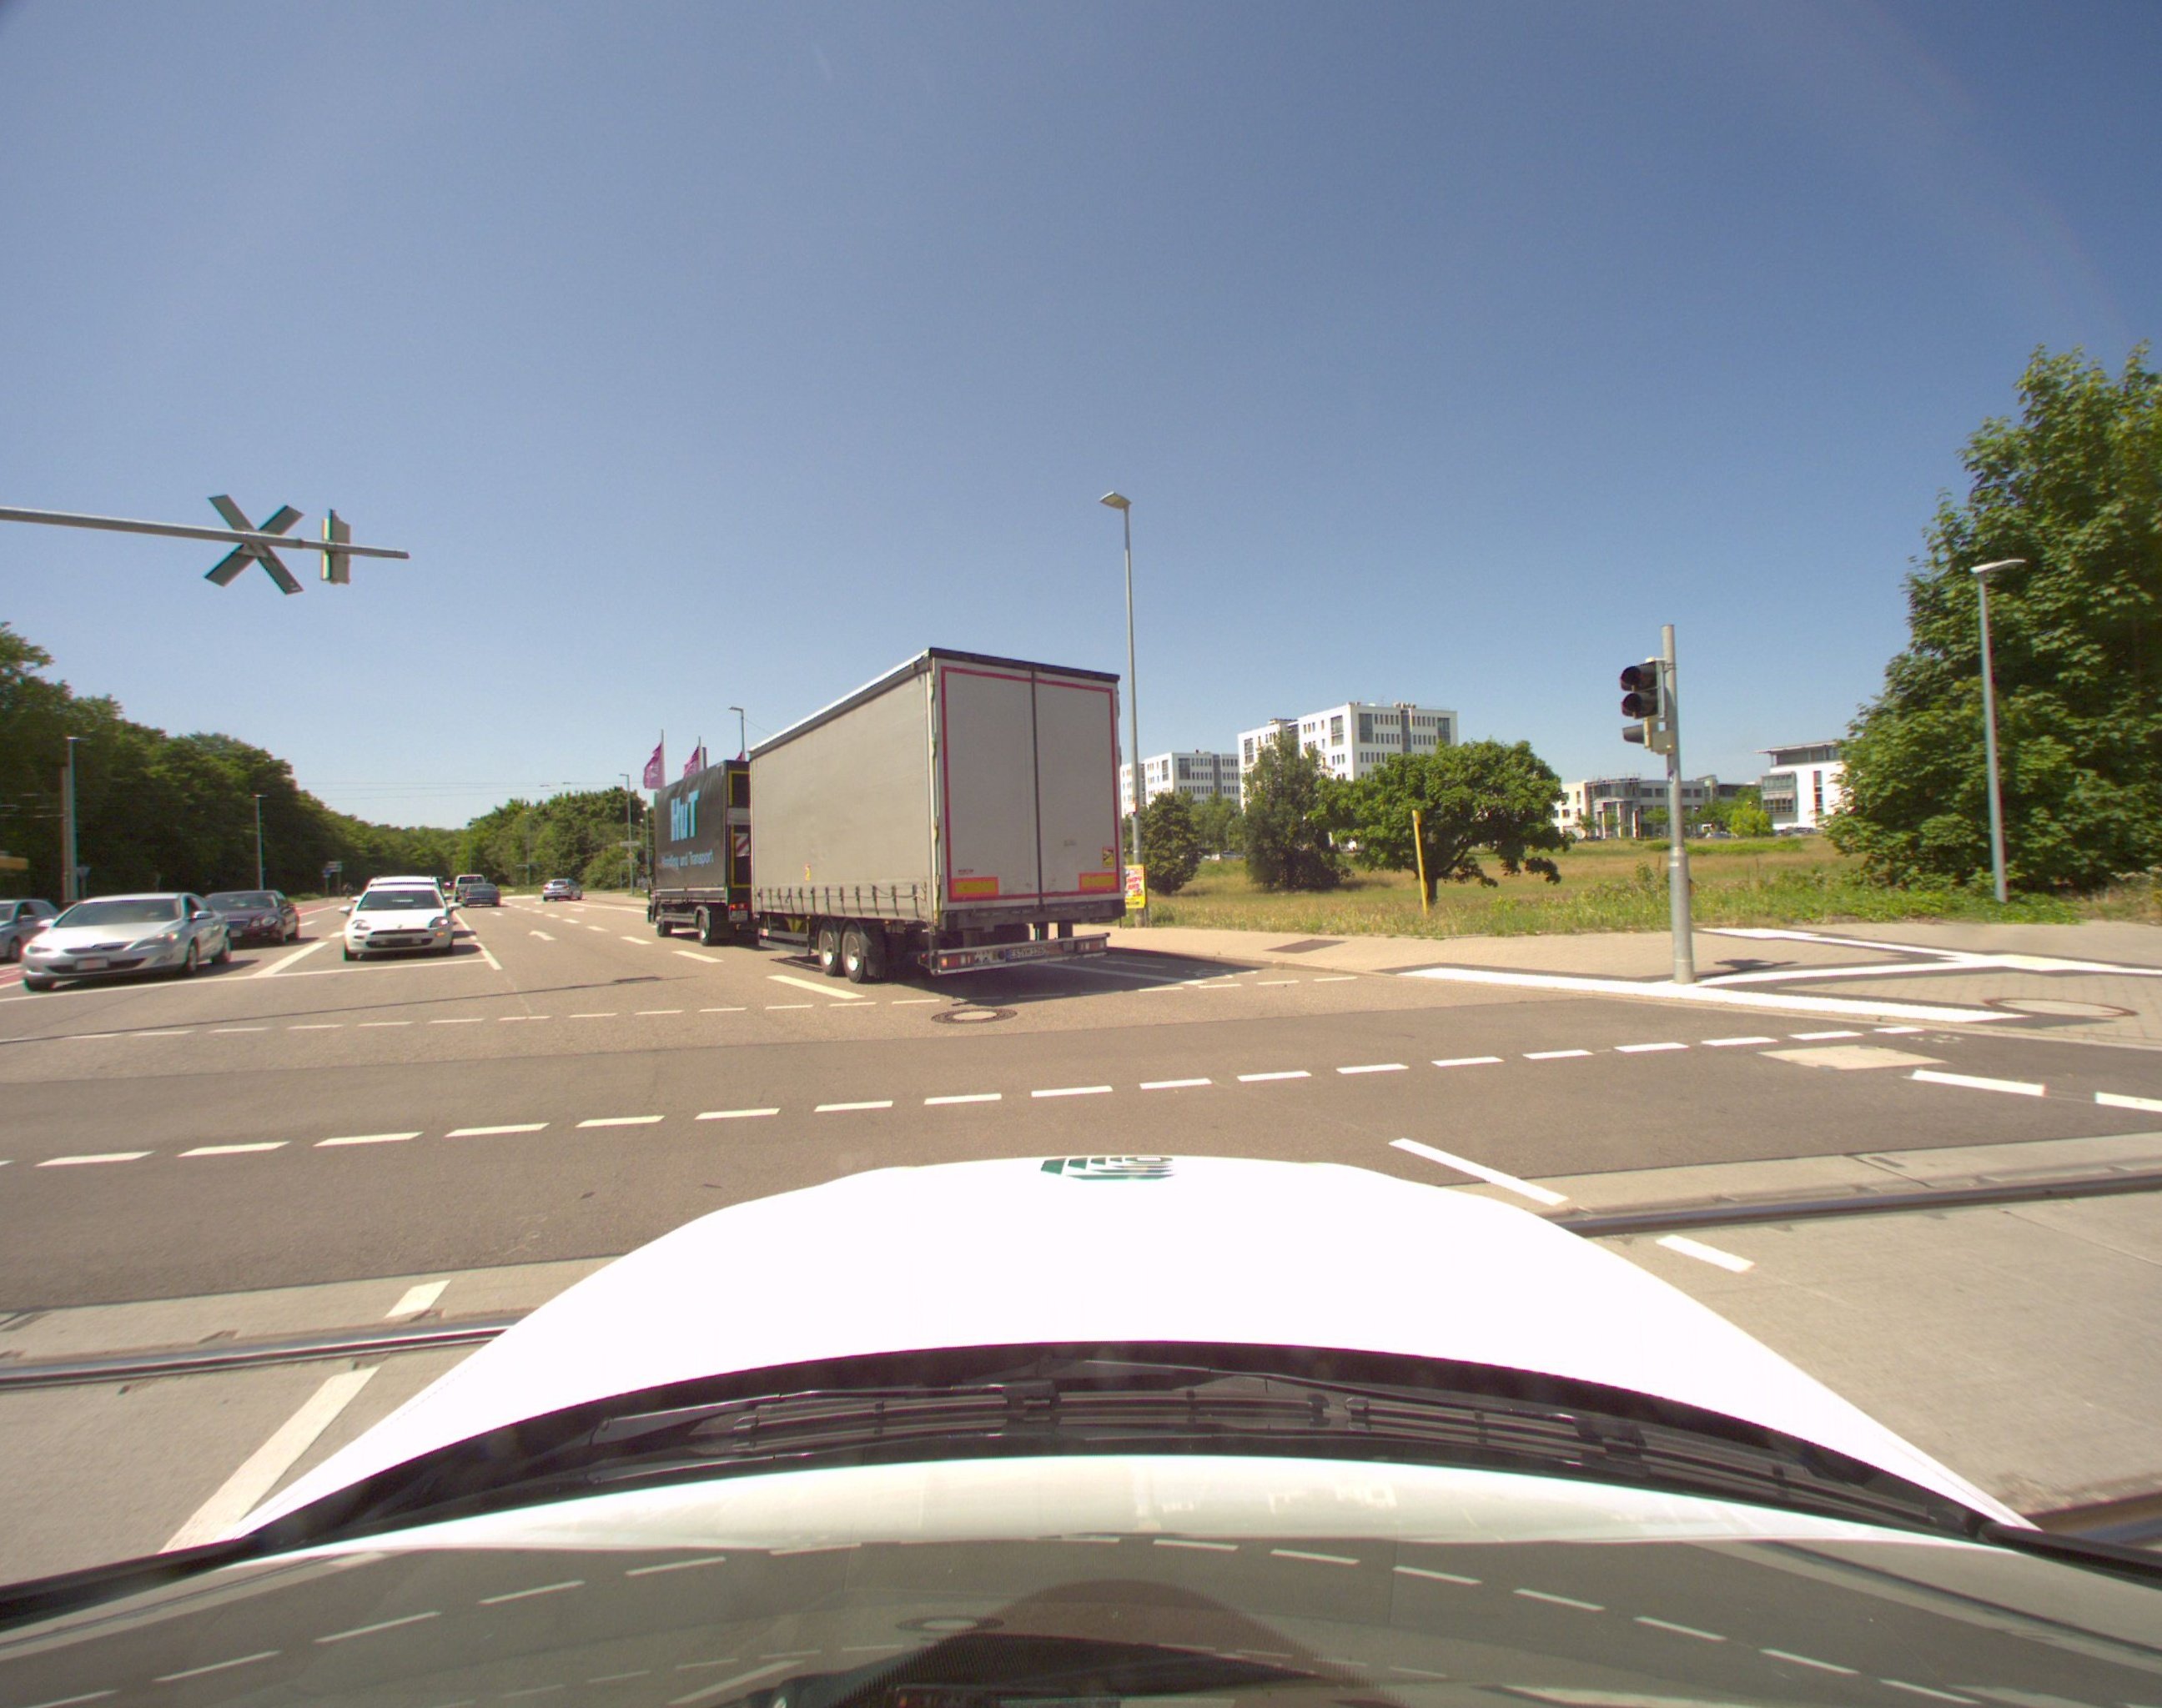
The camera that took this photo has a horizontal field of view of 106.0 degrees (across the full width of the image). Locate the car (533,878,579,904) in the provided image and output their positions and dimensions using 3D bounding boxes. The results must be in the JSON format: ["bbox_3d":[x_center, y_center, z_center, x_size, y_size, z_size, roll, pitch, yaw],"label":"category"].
[{"bbox_3d":[-36.928,2.574,57.374,1.845,1.632,3.971,-2,-1,-21],"label":"car"}]

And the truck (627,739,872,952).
[{"bbox_3d":[-8.272,-0.071,19.561,3.103,4.070,7.864,0,-1,-41],"label":"truck"}]

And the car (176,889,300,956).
[{"bbox_3d":[-21.926,1.698,21.337,1.775,1.457,4.235,-2,-1,-40],"label":"car"}]

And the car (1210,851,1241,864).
[{"bbox_3d":[18.021,0.442,101.580,3.636,1.533,1.690,0,-2,-28],"label":"car"}]

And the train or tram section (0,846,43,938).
[{"bbox_3d":[-46.384,1.639,33.400,12.831,3.759,3.044,-2,1,45],"label":"train or tram section"}]

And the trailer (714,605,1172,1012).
[{"bbox_3d":[-3.049,-0.367,12.978,3.101,4.070,9.700,-2,-1,-36],"label":"trailer"}]

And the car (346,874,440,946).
[{"bbox_3d":[-19.092,1.465,22.718,1.827,1.723,4.775,-1,-1,-39],"label":"car"}]

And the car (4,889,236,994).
[{"bbox_3d":[-16.889,1.422,14.584,1.806,1.455,4.362,-2,0,-38],"label":"car"}]

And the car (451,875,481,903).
[{"bbox_3d":[-45.299,2.576,60.008,1.669,1.907,3.955,-2,-1,-37],"label":"car"}]

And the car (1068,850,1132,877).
[{"bbox_3d":[2.141,1.078,92.880,6.872,2.802,2.643,-1,-2,-29],"label":"car"}]

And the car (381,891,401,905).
[{"bbox_3d":[-80.493,5.116,94.982,1.636,1.456,3.461,-3,0,-39],"label":"car"}]

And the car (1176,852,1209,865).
[{"bbox_3d":[13.625,0.519,99.239,3.636,1.533,1.690,0,-2,-28],"label":"car"}]

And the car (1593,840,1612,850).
[{"bbox_3d":[111.069,-1.972,173.383,4.016,2.014,1.979,-2,-1,-34],"label":"car"}]

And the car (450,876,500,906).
[{"bbox_3d":[-35.855,2.171,48.288,2.040,1.632,3.959,-2,-1,-33],"label":"car"}]

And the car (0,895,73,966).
[{"bbox_3d":[-27.382,1.916,20.367,1.755,1.546,4.209,-3,1,-38],"label":"car"}]

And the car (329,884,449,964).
[{"bbox_3d":[-14.652,1.389,17.325,1.783,1.438,3.914,0,-2,-40],"label":"car"}]

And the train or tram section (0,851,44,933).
[{"bbox_3d":[-55.795,2.028,39.490,11.484,3.759,3.041,-3,1,19],"label":"train or tram section"}]
